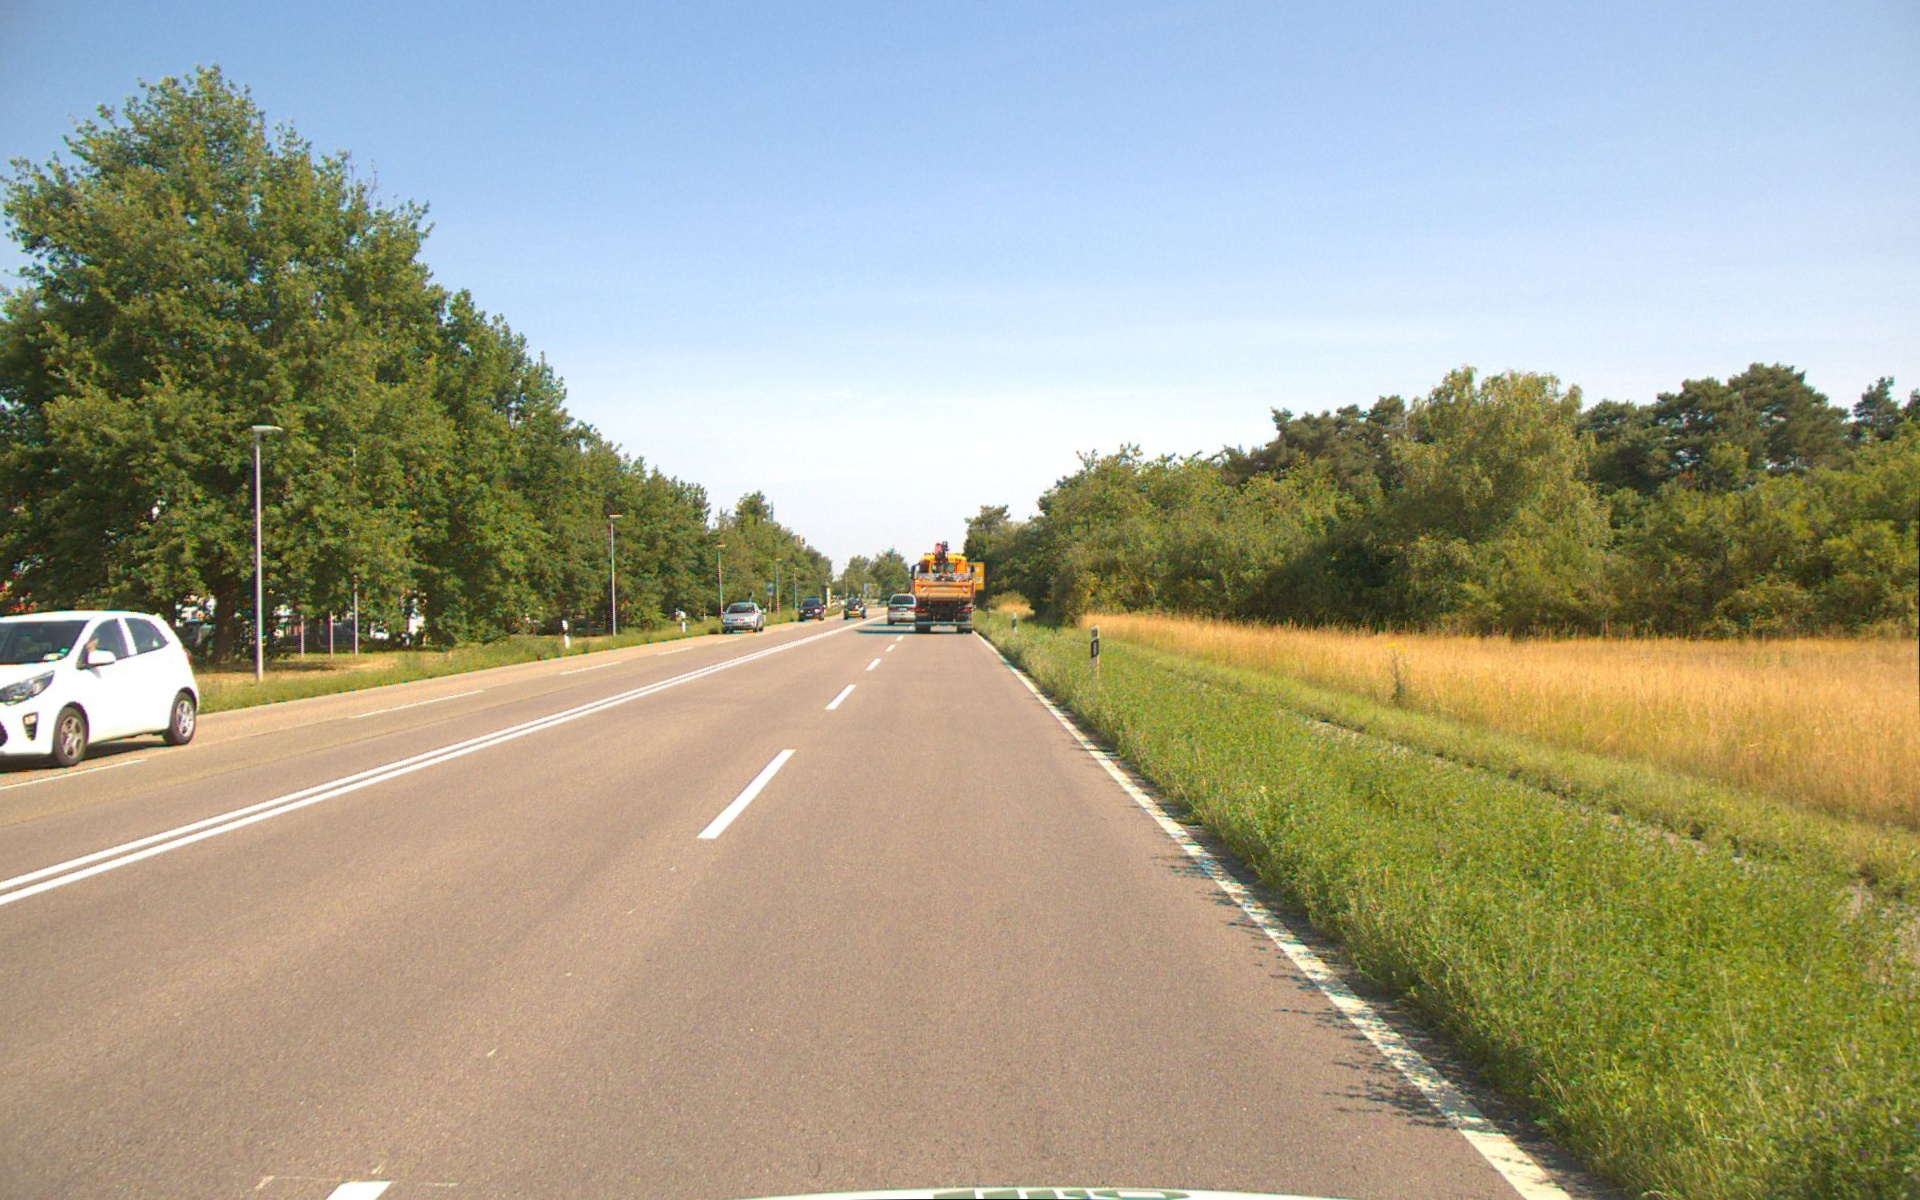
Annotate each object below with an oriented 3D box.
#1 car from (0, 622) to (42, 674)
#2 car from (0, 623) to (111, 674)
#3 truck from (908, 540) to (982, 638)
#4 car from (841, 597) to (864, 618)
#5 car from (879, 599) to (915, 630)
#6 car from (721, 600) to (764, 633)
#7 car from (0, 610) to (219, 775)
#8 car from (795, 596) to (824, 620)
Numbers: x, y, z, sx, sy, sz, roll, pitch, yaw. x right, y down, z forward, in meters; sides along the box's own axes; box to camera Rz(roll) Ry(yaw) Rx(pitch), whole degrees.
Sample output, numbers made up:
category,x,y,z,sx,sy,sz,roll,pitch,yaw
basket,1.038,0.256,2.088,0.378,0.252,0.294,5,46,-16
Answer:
category,x,y,z,sx,sy,sz,roll,pitch,yaw
car,-30.463,1.505,50.453,3.906,1.527,1.757,-1,0,-1
car,-30.436,1.602,54.547,3.906,1.527,1.757,-1,0,-1
truck,-0.726,-0.453,71.534,2.815,3.948,7.395,1,0,-3
car,-8.120,0.558,125.476,1.486,1.475,3.774,-3,0,-1
car,-3.472,0.793,90.821,1.954,1.611,3.998,-1,0,-3
car,-10.482,0.790,79.789,1.566,1.467,3.999,-3,0,-1
car,-9.255,0.894,16.964,1.625,1.462,3.735,-3,0,-1
car,-11.231,0.595,123.736,1.789,1.701,4.388,-3,0,-2
